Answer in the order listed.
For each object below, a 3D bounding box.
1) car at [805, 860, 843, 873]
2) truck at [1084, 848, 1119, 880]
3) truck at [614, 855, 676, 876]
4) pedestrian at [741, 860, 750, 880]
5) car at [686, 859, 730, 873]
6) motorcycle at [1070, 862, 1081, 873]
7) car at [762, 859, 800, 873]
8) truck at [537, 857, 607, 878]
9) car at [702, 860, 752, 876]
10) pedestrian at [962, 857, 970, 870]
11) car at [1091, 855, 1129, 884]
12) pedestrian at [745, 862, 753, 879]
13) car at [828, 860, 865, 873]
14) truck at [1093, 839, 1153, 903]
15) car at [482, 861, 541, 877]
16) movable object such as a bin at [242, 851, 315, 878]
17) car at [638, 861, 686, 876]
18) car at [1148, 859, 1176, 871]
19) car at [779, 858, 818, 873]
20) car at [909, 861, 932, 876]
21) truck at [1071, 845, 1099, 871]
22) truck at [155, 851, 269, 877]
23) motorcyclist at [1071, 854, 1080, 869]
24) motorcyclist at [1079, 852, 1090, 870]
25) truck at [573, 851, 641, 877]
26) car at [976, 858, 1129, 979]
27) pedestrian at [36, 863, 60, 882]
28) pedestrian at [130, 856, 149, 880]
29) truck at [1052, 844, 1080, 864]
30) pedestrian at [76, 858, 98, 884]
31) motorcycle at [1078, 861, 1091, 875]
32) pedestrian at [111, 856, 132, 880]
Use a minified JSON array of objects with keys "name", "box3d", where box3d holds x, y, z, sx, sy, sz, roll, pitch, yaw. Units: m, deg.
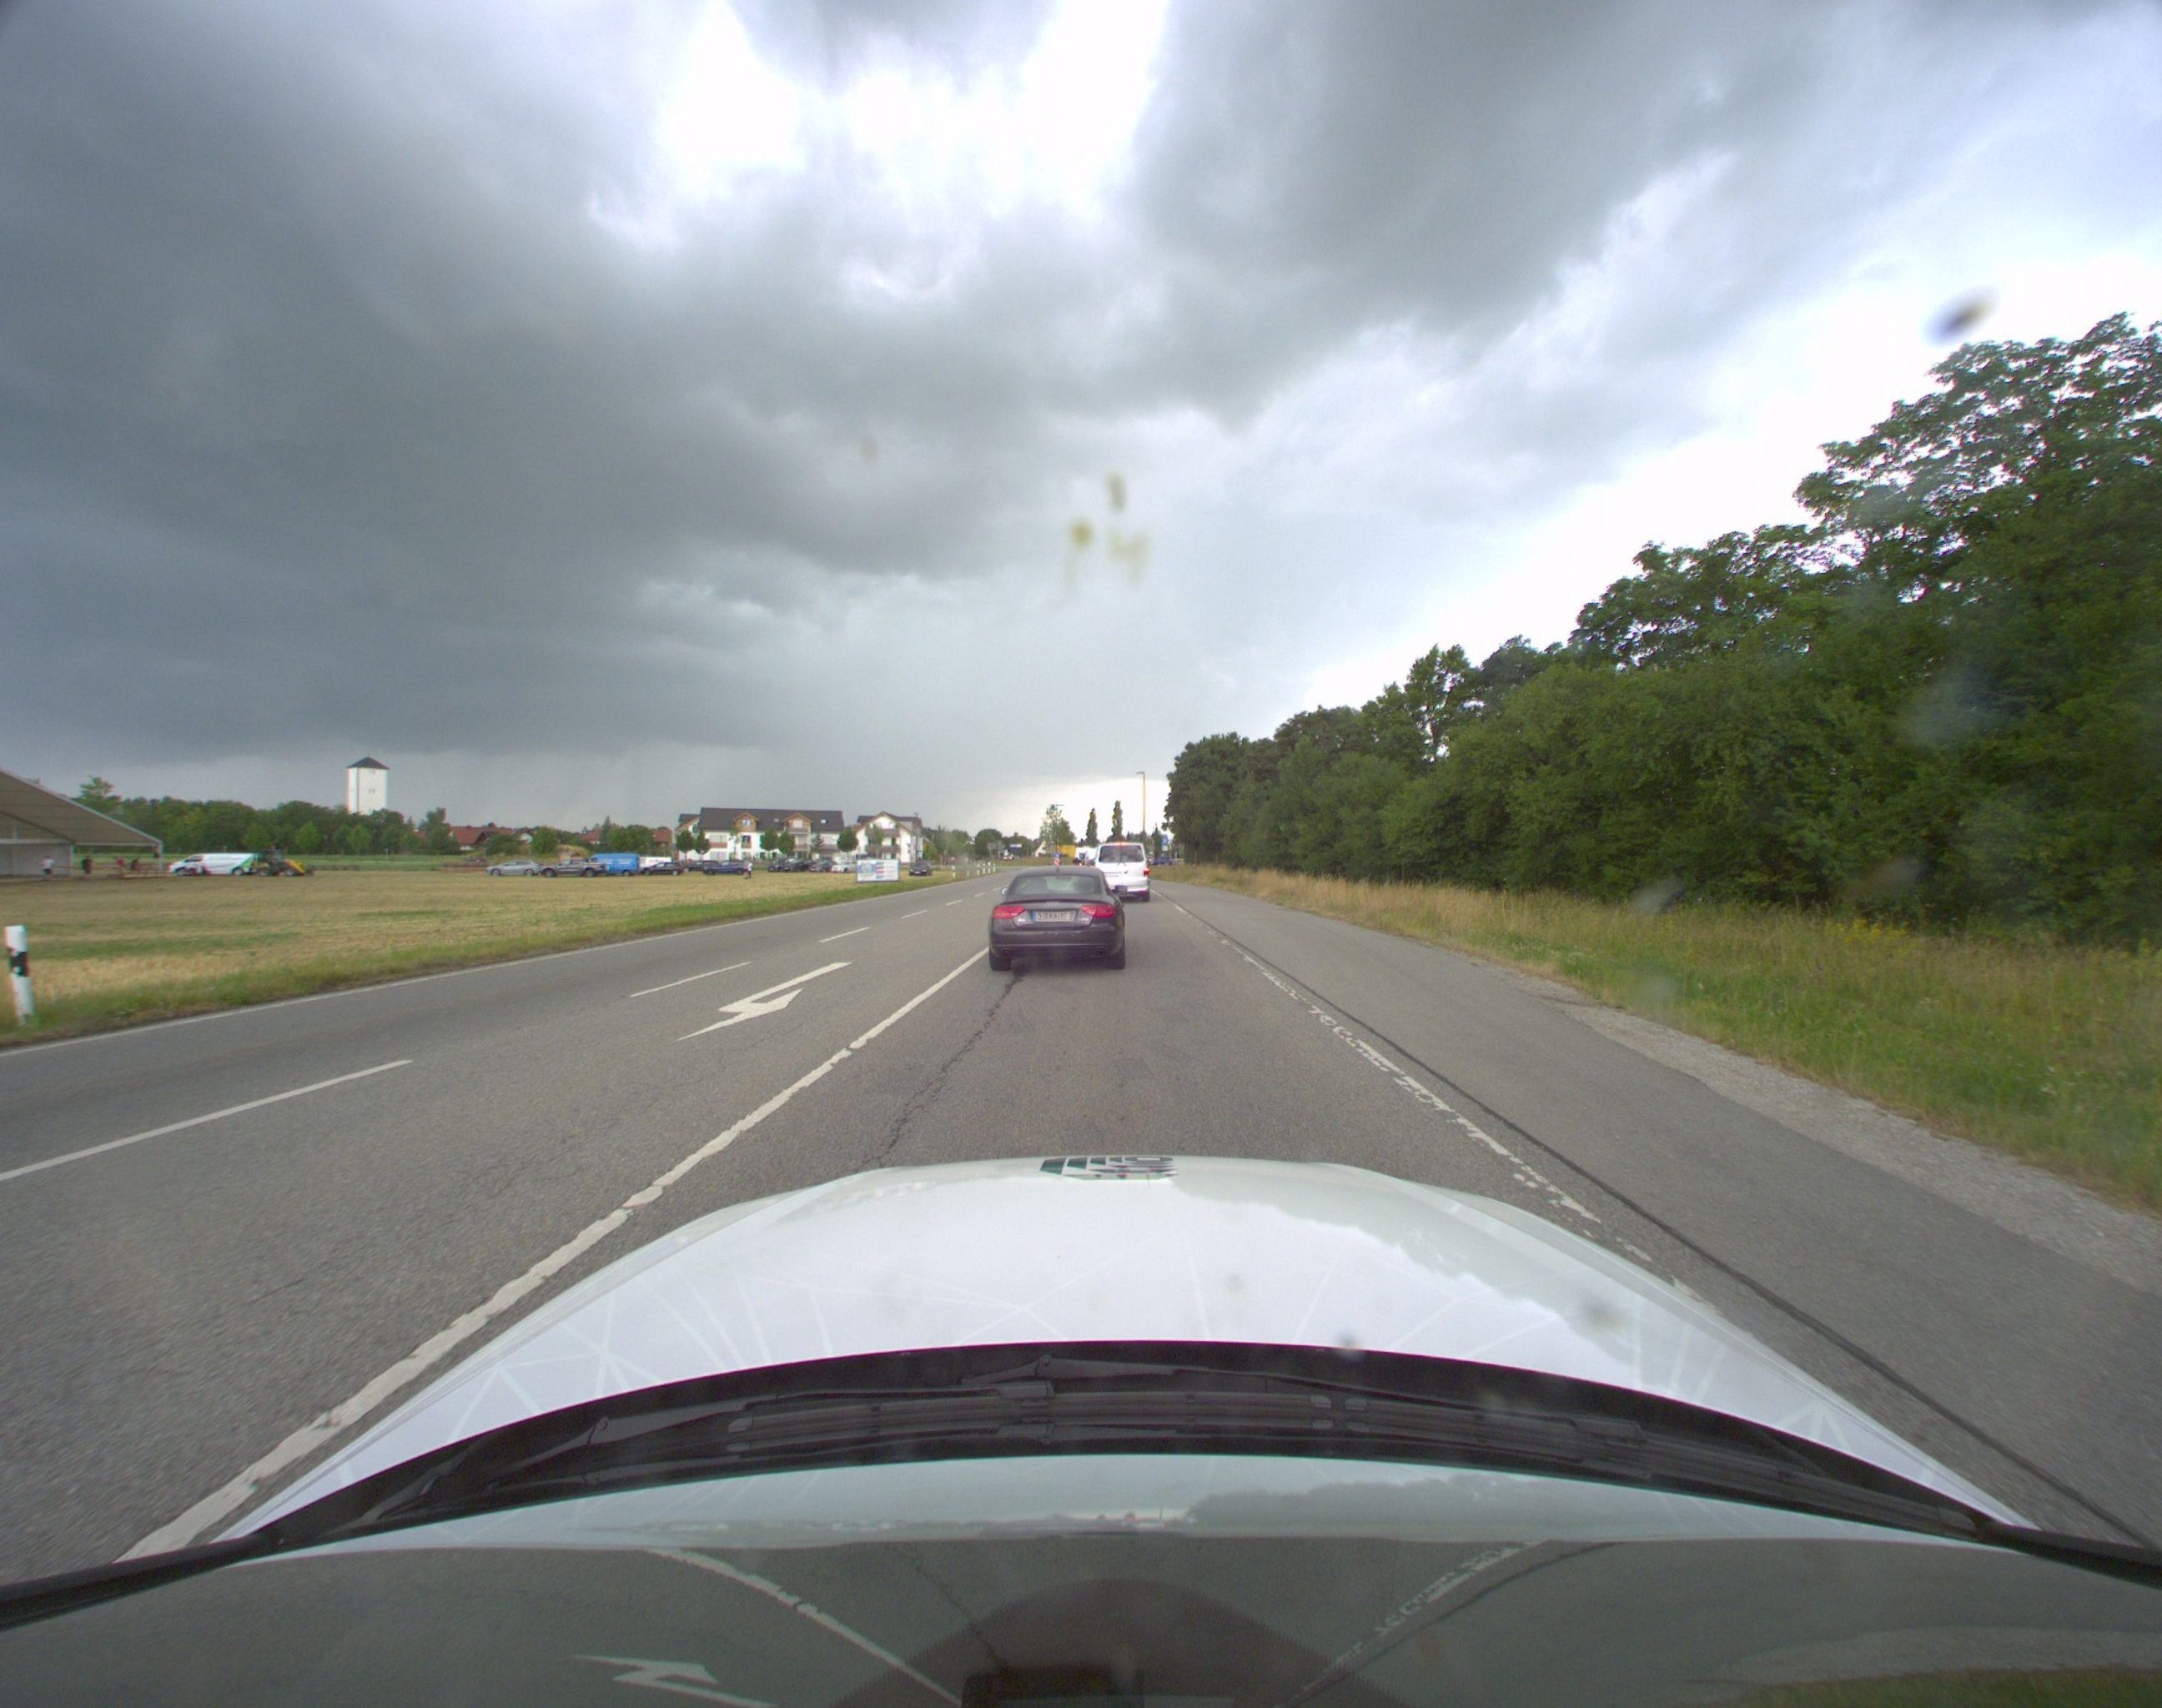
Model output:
[{"name":"car","box3d":[-29.754,1.437,94.314,1.977,1.536,4.233,0,0,21]},{"name":"truck","box3d":[1.414,0.652,53.515,2.185,2.014,5.088,0,0,3]},{"name":"truck","box3d":[-47.098,1.213,88.097,5.585,2.196,2.589,0,-1,-21]},{"name":"pedestrian","box3d":[-30.784,1.457,74.717,0.548,1.786,0.676,0,-1,-9]},{"name":"car","box3d":[-45.407,1.477,99.188,4.638,1.697,1.988,0,-1,-18]},{"name":"motorcycle","box3d":[-0.509,1.244,76.775,0.940,1.019,2.285,0,0,2]},{"name":"car","box3d":[-35.822,1.373,97.307,1.977,1.629,4.233,0,0,21]},{"name":"truck","box3d":[-47.633,1.275,76.377,5.251,1.921,2.095,0,-1,-24]},{"name":"car","box3d":[-37.889,1.470,87.275,4.728,1.697,1.988,0,-1,-18]},{"name":"pedestrian","box3d":[-13.730,1.165,97.306,0.695,1.586,0.661,0,-1,19]},{"name":"car","box3d":[1.578,0.838,44.397,1.986,1.485,4.001,0,0,2]},{"name":"pedestrian","box3d":[-30.825,1.541,75.666,0.591,1.555,0.622,0,-1,-17]},{"name":"car","box3d":[-27.013,1.402,93.830,1.977,1.446,4.233,0,0,21]},{"name":"truck","box3d":[1.427,0.544,28.105,1.896,1.998,4.631,0,0,3]},{"name":"car","box3d":[-54.384,1.430,77.858,4.315,1.461,1.876,0,-1,-24]},{"name":"movable object such as a bin","box3d":[-68.081,0.878,69.147,4.005,2.243,1.870,0,-1,-26]},{"name":"car","box3d":[-43.658,1.525,84.993,4.167,1.519,1.988,0,-1,-18]},{"name":"car","box3d":[13.037,1.758,130.713,3.952,2.014,2.011,0,-1,22]},{"name":"car","box3d":[-32.878,1.329,94.881,1.977,1.629,4.233,0,0,21]},{"name":"car","box3d":[-15.906,1.401,80.803,1.993,1.442,3.988,0,0,-9]},{"name":"truck","box3d":[0.393,0.436,87.907,2.621,2.737,5.858,1,0,-4]},{"name":"truck","box3d":[-74.569,0.844,70.064,6.074,2.217,2.698,0,-1,-25]},{"name":"motorcyclist","box3d":[-0.524,0.726,76.745,0.782,1.356,0.854,0,-1,2]},{"name":"motorcyclist","box3d":[0.289,0.558,63.034,0.769,1.383,0.821,0,-1,3]},{"name":"truck","box3d":[-46.768,0.968,80.541,5.467,2.446,2.377,0,-1,-21]},{"name":"car","box3d":[-0.279,0.804,12.082,1.868,1.454,4.179,-1,0,2]},{"name":"pedestrian","box3d":[-70.283,1.272,55.421,0.688,1.271,0.692,0,-1,-9]},{"name":"pedestrian","box3d":[-72.429,1.053,62.630,0.623,1.866,0.708,0,-1,-4]},{"name":"truck","box3d":[-2.981,0.023,153.632,3.578,3.578,9.918,1,0,-11]},{"name":"pedestrian","box3d":[-68.933,1.148,56.482,0.690,1.776,0.691,0,-1,-17]},{"name":"motorcycle","box3d":[0.291,1.067,63.107,0.916,1.094,2.190,0,0,3]},{"name":"pedestrian","box3d":[-71.463,1.021,60.655,0.690,1.776,0.691,0,-1,-17]}]
